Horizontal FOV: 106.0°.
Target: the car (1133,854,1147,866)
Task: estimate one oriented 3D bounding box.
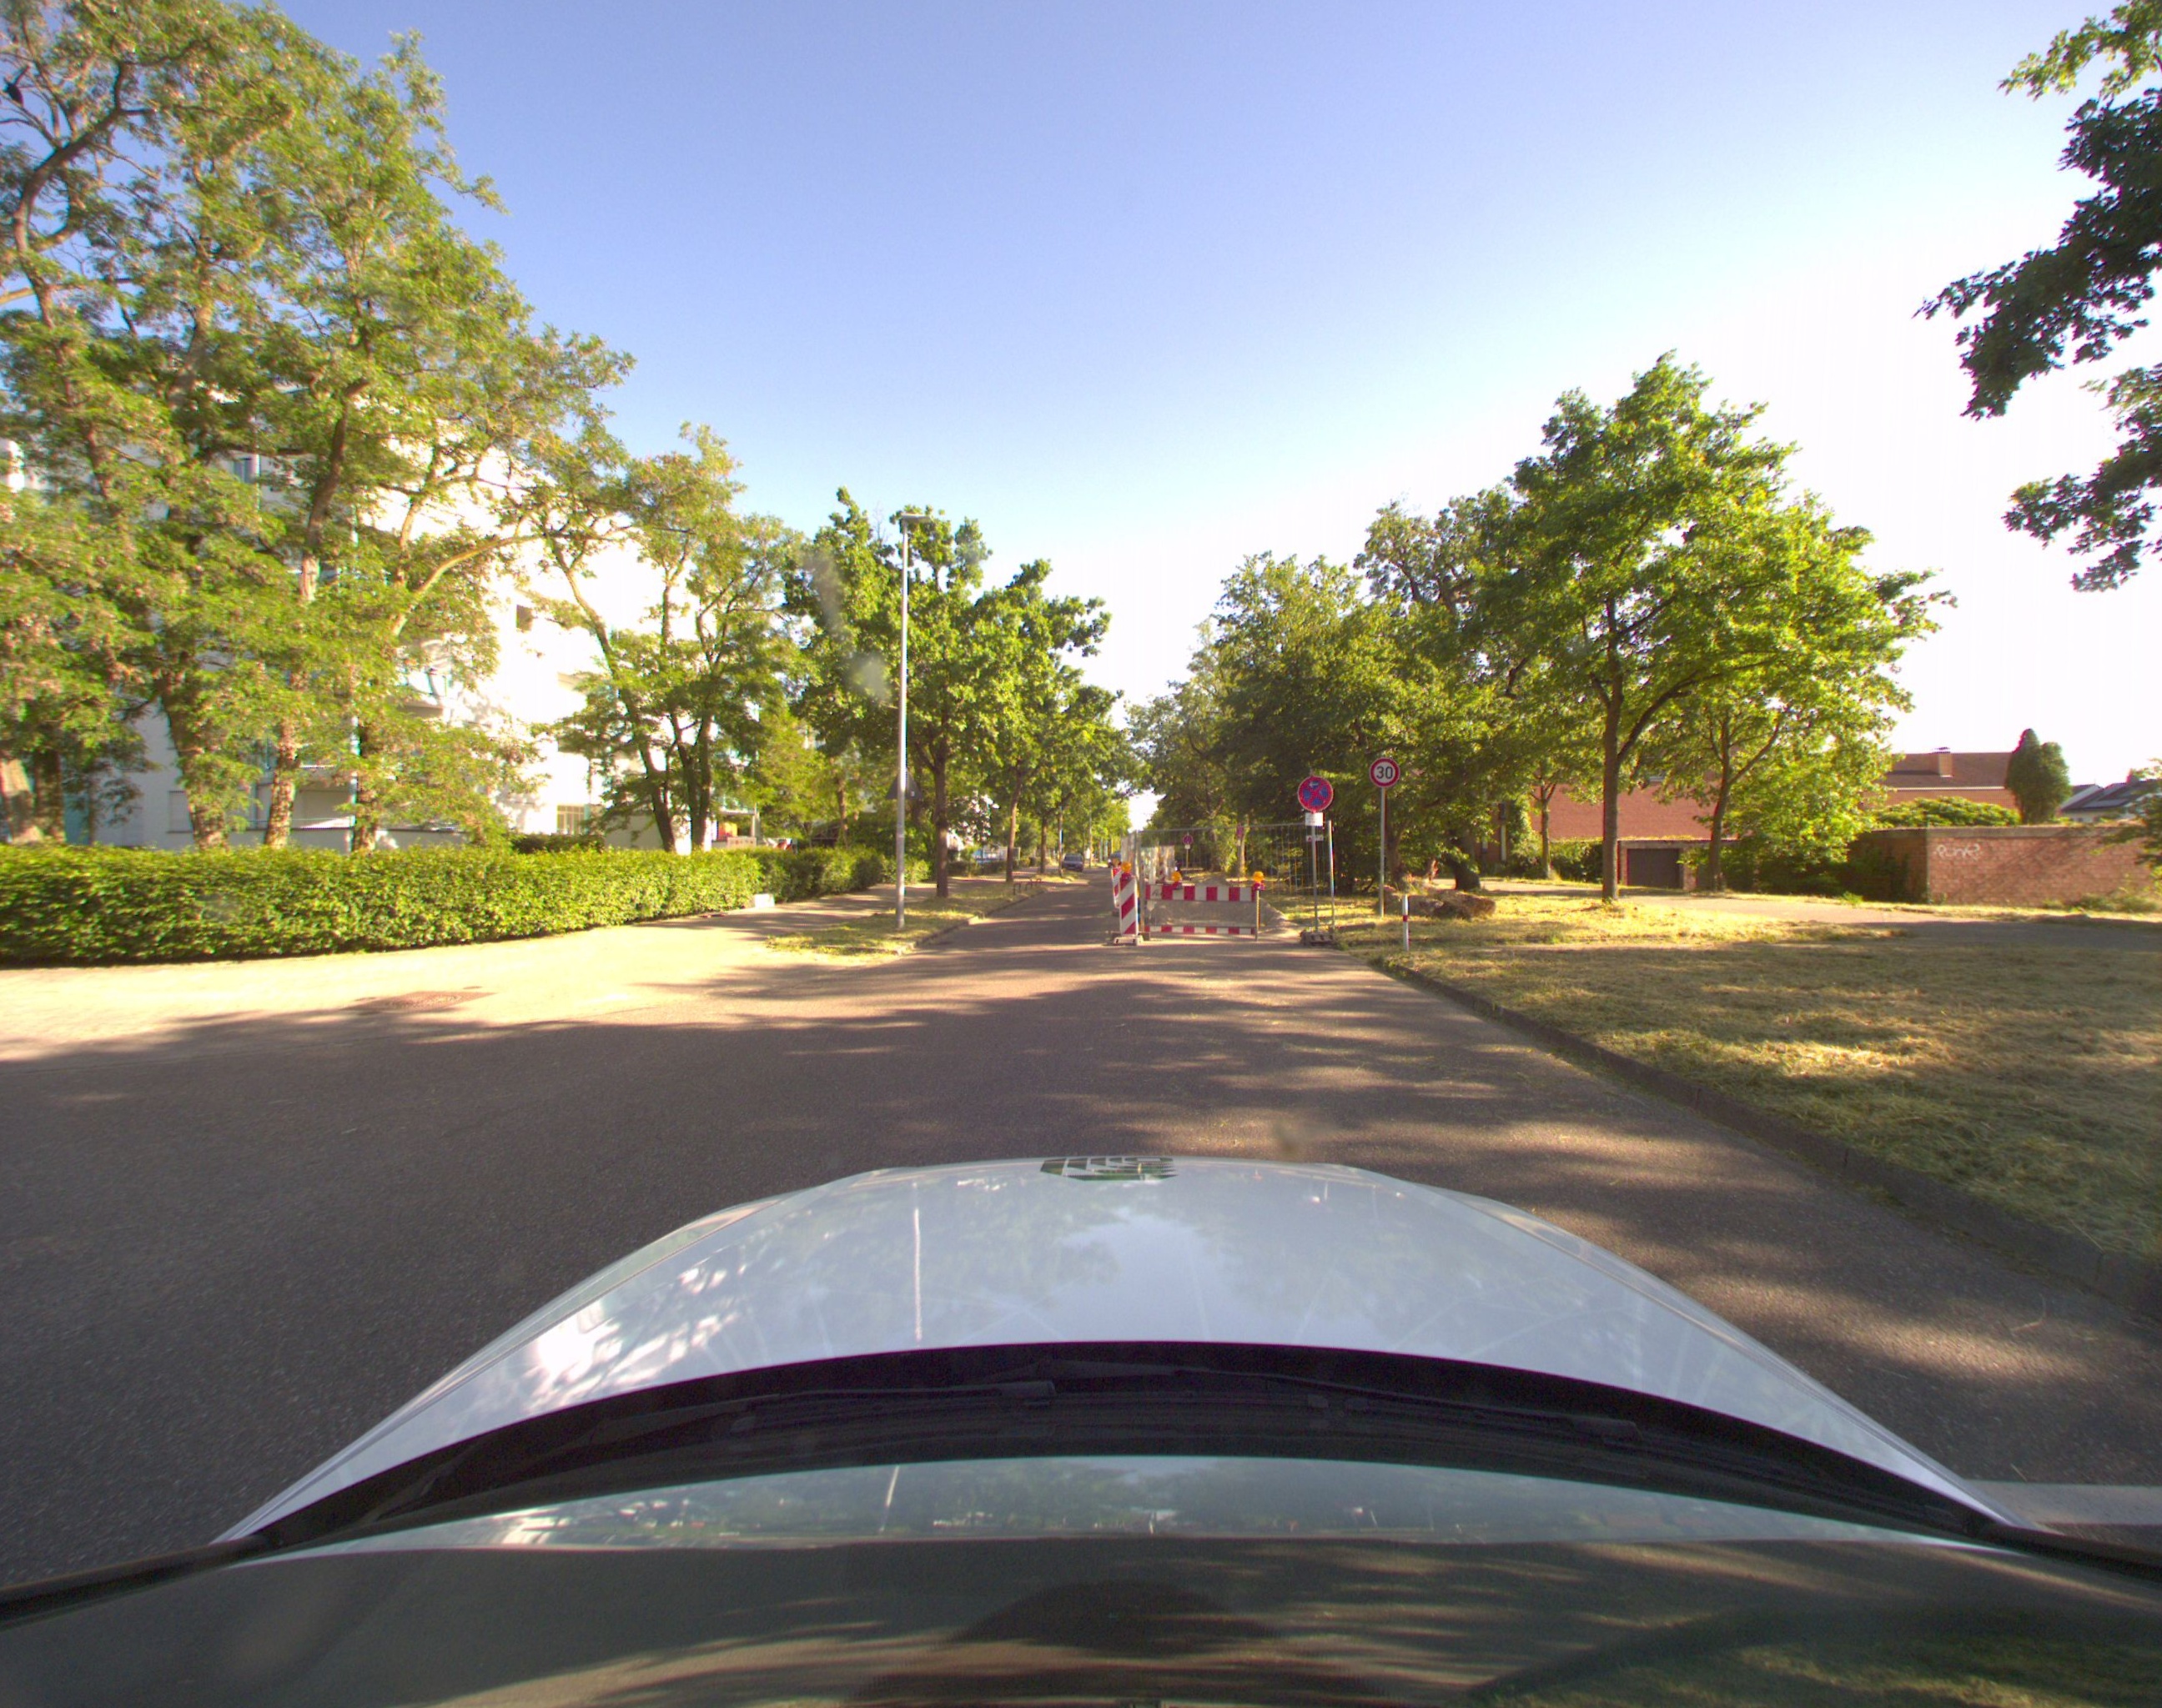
[{"bbox_3d":[6.644,0.724,91.571,1.356,1.302,3.482,1,-1,2],"label":"car"}]

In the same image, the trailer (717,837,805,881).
[{"bbox_3d":[-15.855,0.223,40.604,1.964,2.042,4.443,0,0,11],"label":"trailer"}]

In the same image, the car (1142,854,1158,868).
[{"bbox_3d":[6.662,0.702,78.572,1.356,1.302,3.482,1,-1,2],"label":"car"}]

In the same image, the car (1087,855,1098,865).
[{"bbox_3d":[1.511,0.807,104.421,1.356,1.302,3.482,1,-1,2],"label":"car"}]

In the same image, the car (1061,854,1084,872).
[{"bbox_3d":[-0.672,0.722,69.309,1.744,1.478,3.839,0,0,2],"label":"car"}]
